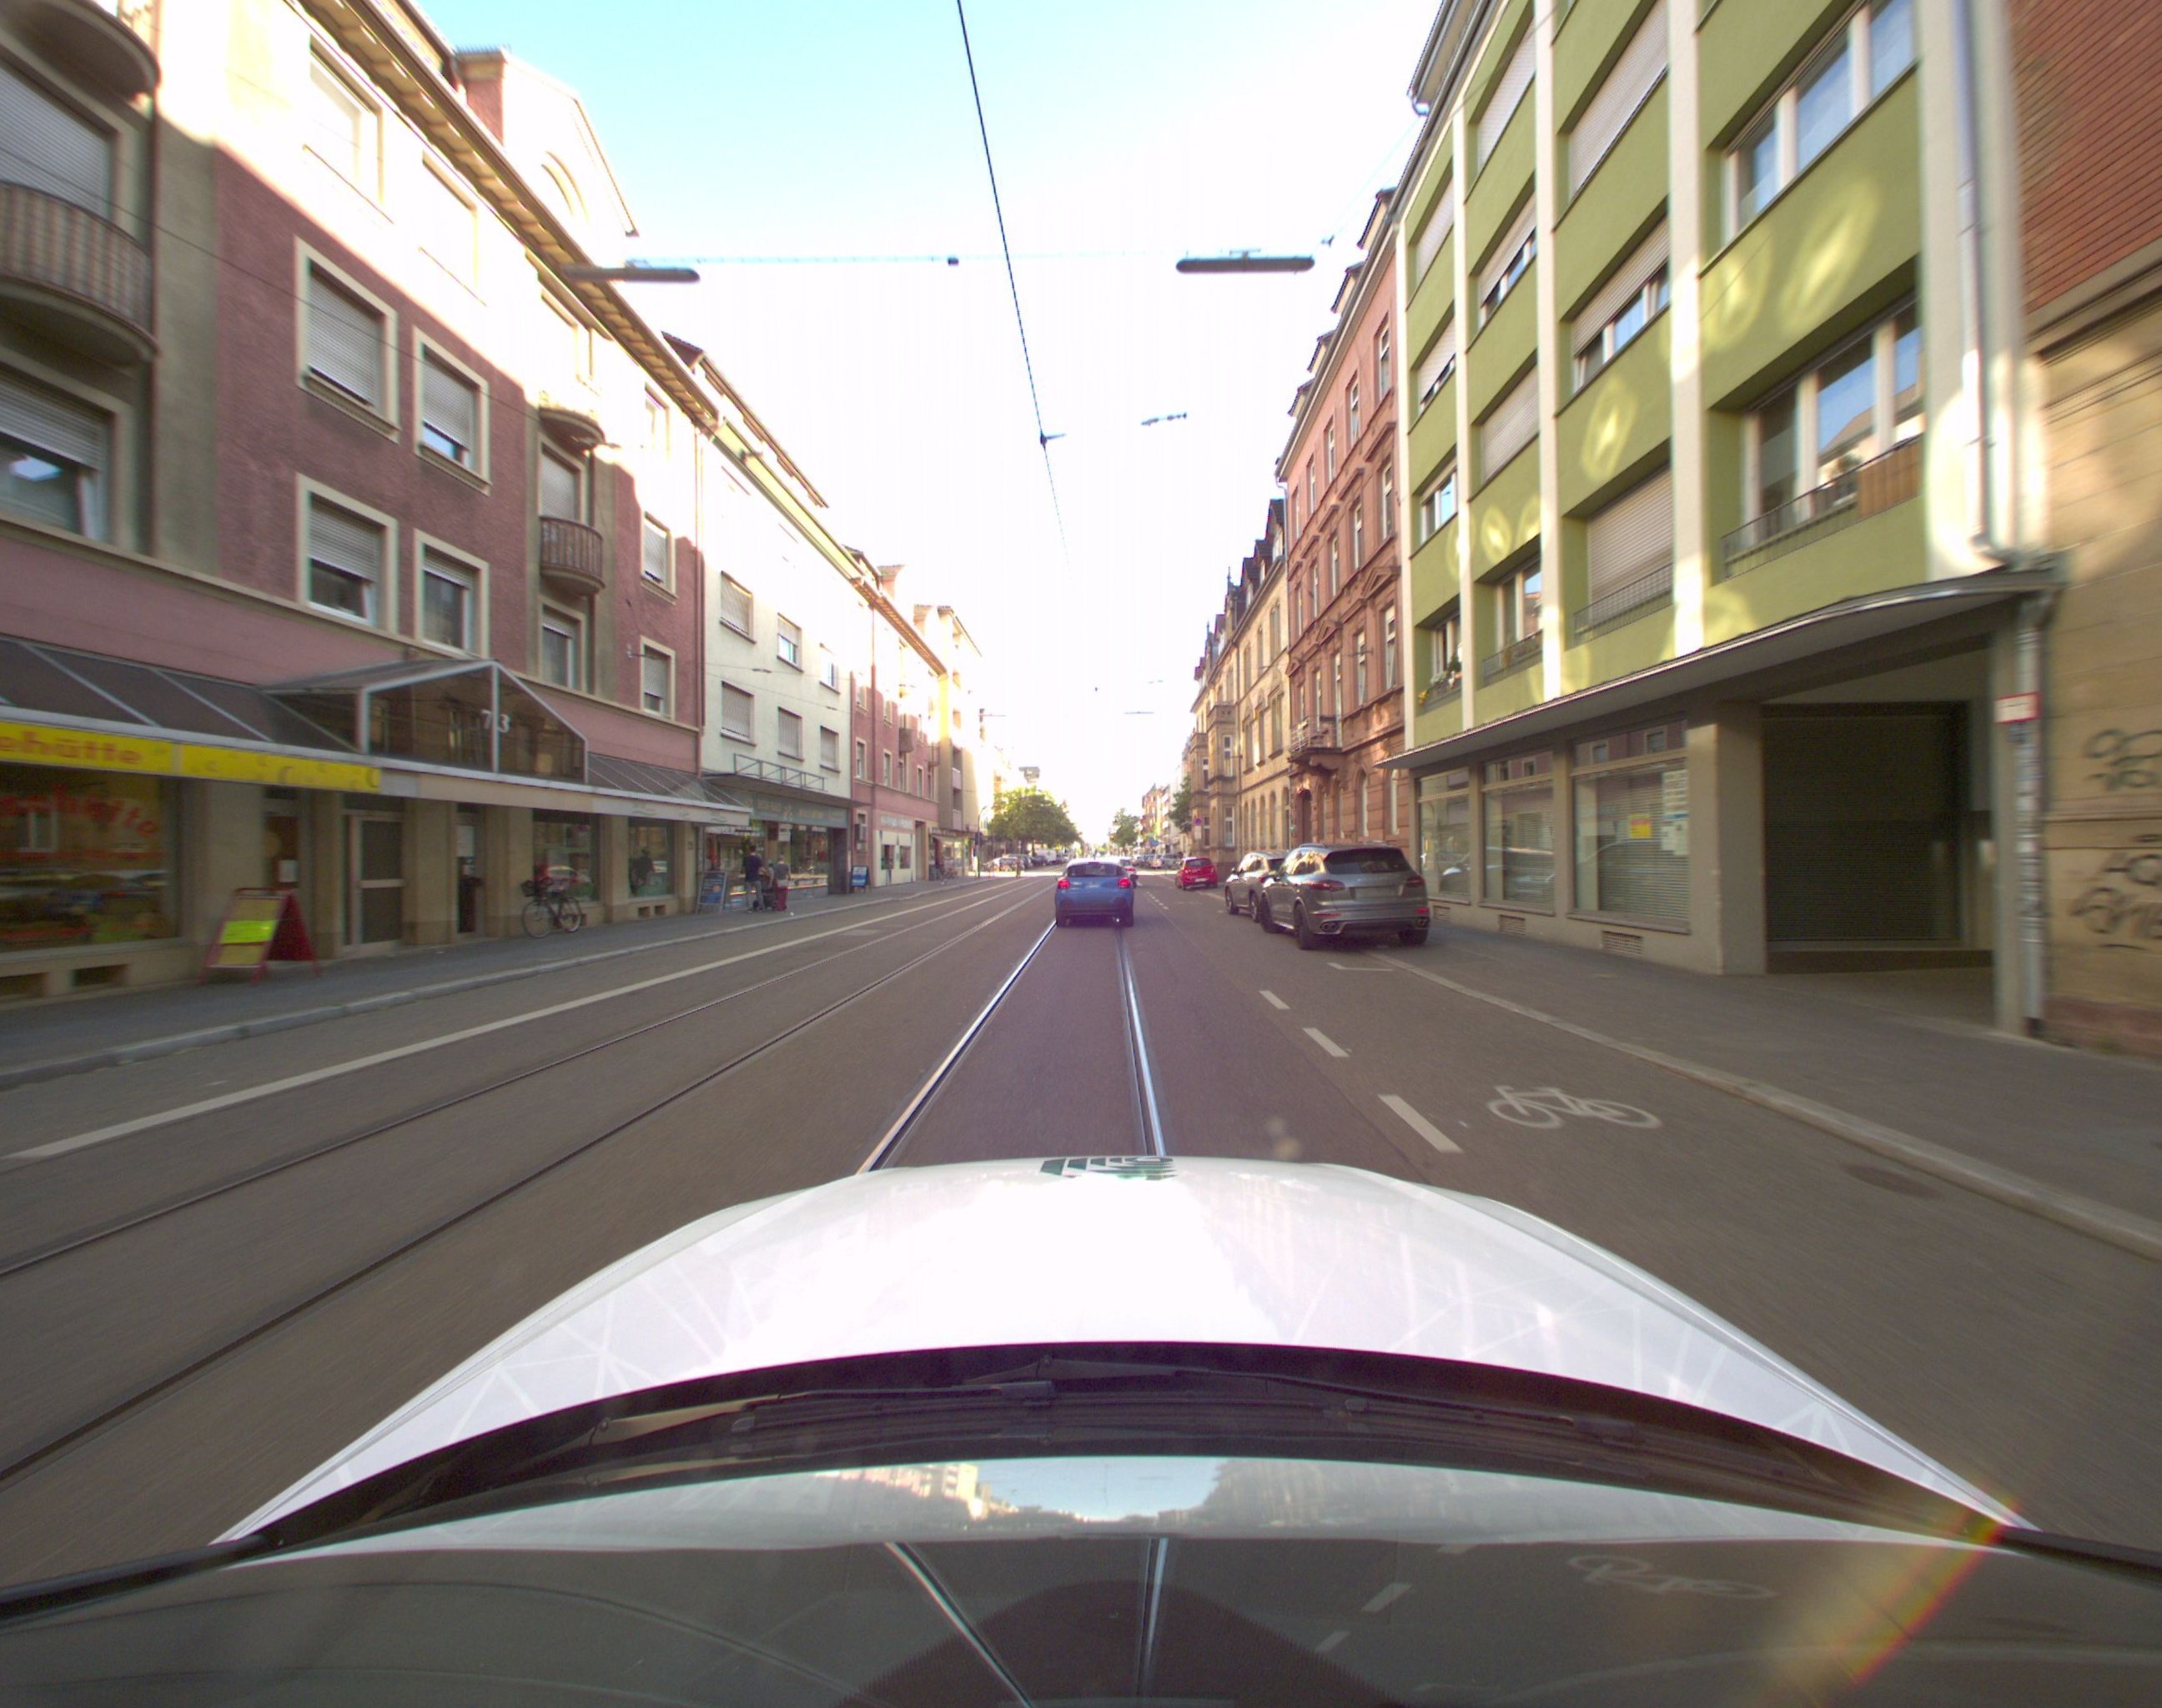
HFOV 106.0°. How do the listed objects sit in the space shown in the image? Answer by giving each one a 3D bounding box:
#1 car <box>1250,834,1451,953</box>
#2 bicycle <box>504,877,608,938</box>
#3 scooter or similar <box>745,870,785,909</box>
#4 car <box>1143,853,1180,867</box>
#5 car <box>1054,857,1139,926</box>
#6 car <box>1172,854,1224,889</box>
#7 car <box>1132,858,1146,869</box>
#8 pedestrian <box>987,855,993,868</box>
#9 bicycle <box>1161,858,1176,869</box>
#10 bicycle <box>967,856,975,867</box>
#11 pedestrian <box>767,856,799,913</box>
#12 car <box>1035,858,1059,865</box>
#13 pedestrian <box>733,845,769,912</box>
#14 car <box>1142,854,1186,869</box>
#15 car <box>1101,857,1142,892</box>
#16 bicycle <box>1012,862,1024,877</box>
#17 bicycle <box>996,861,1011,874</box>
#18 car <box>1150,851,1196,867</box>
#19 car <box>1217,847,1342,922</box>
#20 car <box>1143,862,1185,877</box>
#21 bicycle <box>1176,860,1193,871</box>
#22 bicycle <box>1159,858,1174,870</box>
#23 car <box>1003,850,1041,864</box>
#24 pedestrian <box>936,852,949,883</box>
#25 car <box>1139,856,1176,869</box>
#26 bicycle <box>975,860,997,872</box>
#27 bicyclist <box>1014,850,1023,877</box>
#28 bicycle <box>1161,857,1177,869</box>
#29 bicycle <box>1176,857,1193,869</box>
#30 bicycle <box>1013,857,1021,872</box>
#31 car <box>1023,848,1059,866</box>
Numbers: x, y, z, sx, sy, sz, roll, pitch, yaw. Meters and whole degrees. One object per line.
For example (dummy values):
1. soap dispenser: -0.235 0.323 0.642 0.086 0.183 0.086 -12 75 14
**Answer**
1. car: 4.445 0.603 14.341 1.986 1.615 4.787 -4 -1 1
2. bicycle: -10.076 0.990 15.738 0.423 1.060 2.330 0 -1 2
3. scooter or similar: -8.947 0.987 23.105 0.659 1.061 1.105 0 0 2
4. car: 9.738 0.745 98.998 4.004 1.596 2.071 0 -1 -23
5. car: 0.376 0.796 18.786 1.756 1.441 3.558 0 -1 1
6. car: 5.451 0.796 38.512 1.859 1.483 4.402 -3 -1 1
7. car: 8.095 1.340 114.458 1.866 1.596 4.721 0 -1 2
8. pedestrian: -11.449 0.947 102.629 0.567 1.652 0.641 0 -1 2
9. bicycle: 8.615 0.928 80.172 1.547 1.079 0.308 0 -1 8
10. bicycle: -10.769 0.742 79.507 0.404 1.109 1.825 -1 -1 -19
11. pedestrian: -8.301 0.838 22.671 0.633 1.548 0.624 0 -1 1
12. car: -5.770 1.309 138.140 3.814 1.265 1.504 0 -1 -24
13. pedestrian: -8.941 0.653 22.093 0.623 1.789 0.821 0 -1 1
14. car: 9.116 0.831 89.532 4.453 1.596 2.073 0 -1 -23
15. car: 1.944 0.949 39.364 1.866 1.596 4.002 0 -1 2
16. bicycle: -4.685 1.134 60.858 0.600 1.096 2.045 -3 -1 2
17. bicycle: -7.578 1.303 79.570 0.685 1.123 1.870 -1 2 -29
18. car: 9.500 0.516 83.807 4.370 1.596 1.839 0 -1 -23
19. car: 4.740 0.686 20.126 1.861 1.646 4.397 0 -1 -2
20. car: 8.777 1.608 85.753 4.004 1.536 1.904 0 -1 -23
21. bicycle: 10.065 1.101 79.170 1.665 1.127 0.553 0 -1 8
22. bicycle: 8.169 0.952 78.226 1.392 1.127 0.551 0 -1 0
23. car: -7.353 0.399 101.561 4.381 1.783 1.976 0 -1 -31
24. pedestrian: -7.602 0.758 44.676 0.561 1.686 0.616 0 -1 0
25. car: 9.581 1.041 102.069 4.321 1.596 1.967 0 -1 -23
26. bicycle: -9.204 1.178 79.016 2.405 1.109 0.688 2 2 42
27. bicyclist: -4.691 0.732 61.011 0.609 2.014 0.734 0 -1 2
28. bicycle: 8.658 0.908 80.515 1.551 1.127 0.295 0 -1 8
29. bicycle: 9.907 0.831 77.956 1.547 1.127 0.553 0 -1 8
30. bicycle: -6.219 1.011 79.200 0.680 1.319 2.434 0 2 -2
31. car: -6.298 0.477 127.470 5.402 2.749 1.790 0 -1 -28
